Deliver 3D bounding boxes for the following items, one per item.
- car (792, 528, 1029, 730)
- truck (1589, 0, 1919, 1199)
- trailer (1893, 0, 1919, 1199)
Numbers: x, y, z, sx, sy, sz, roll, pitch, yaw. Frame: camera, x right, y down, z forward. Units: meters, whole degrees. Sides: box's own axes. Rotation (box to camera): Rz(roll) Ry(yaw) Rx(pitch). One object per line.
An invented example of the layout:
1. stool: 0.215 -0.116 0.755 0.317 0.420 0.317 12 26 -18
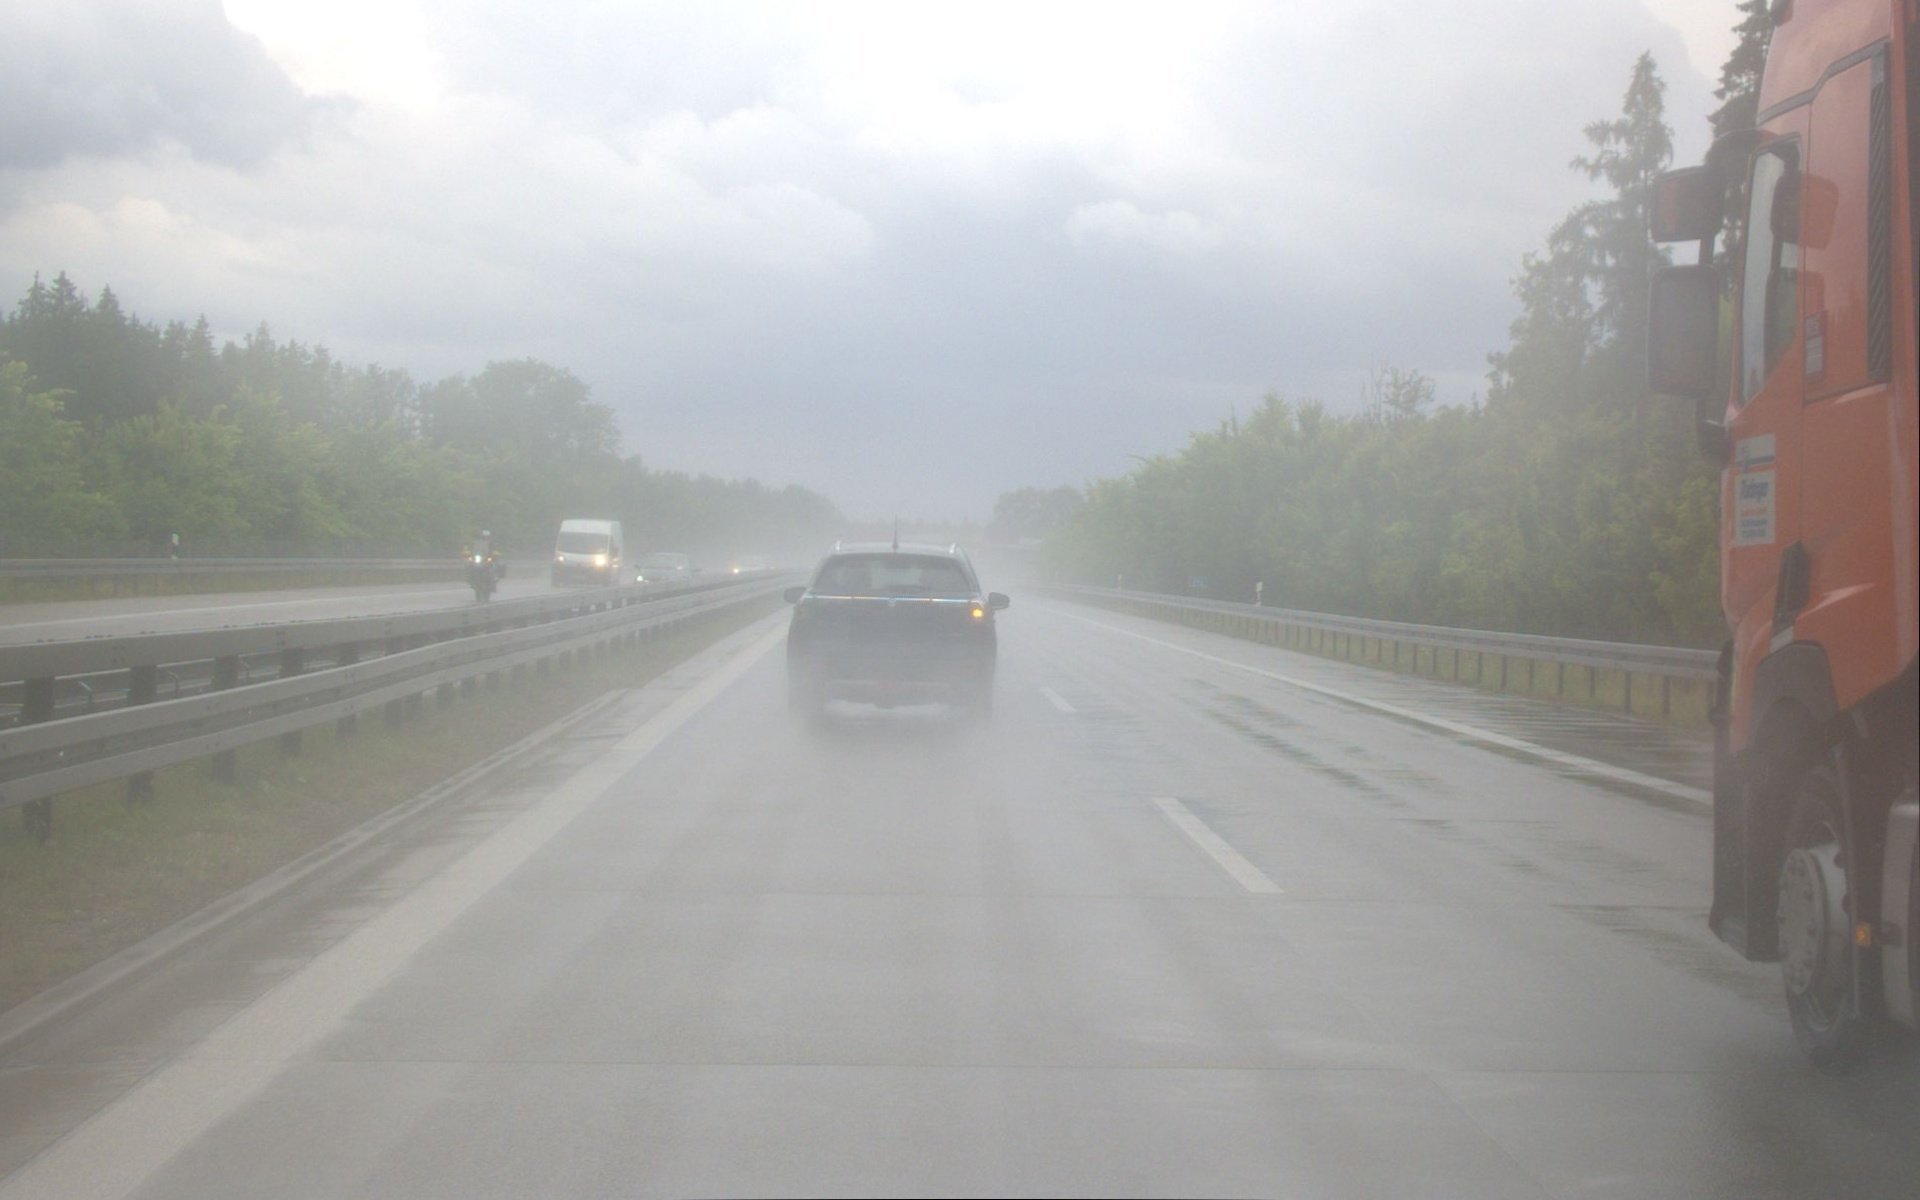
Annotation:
1. car: -0.477 0.269 30.598 1.894 1.571 3.632 4 -1 -2
2. truck: 3.623 -0.554 9.181 2.759 4.074 5.437 1 0 -1
3. trailer: 3.732 -0.484 1.649 2.794 4.143 13.006 1 1 -1
